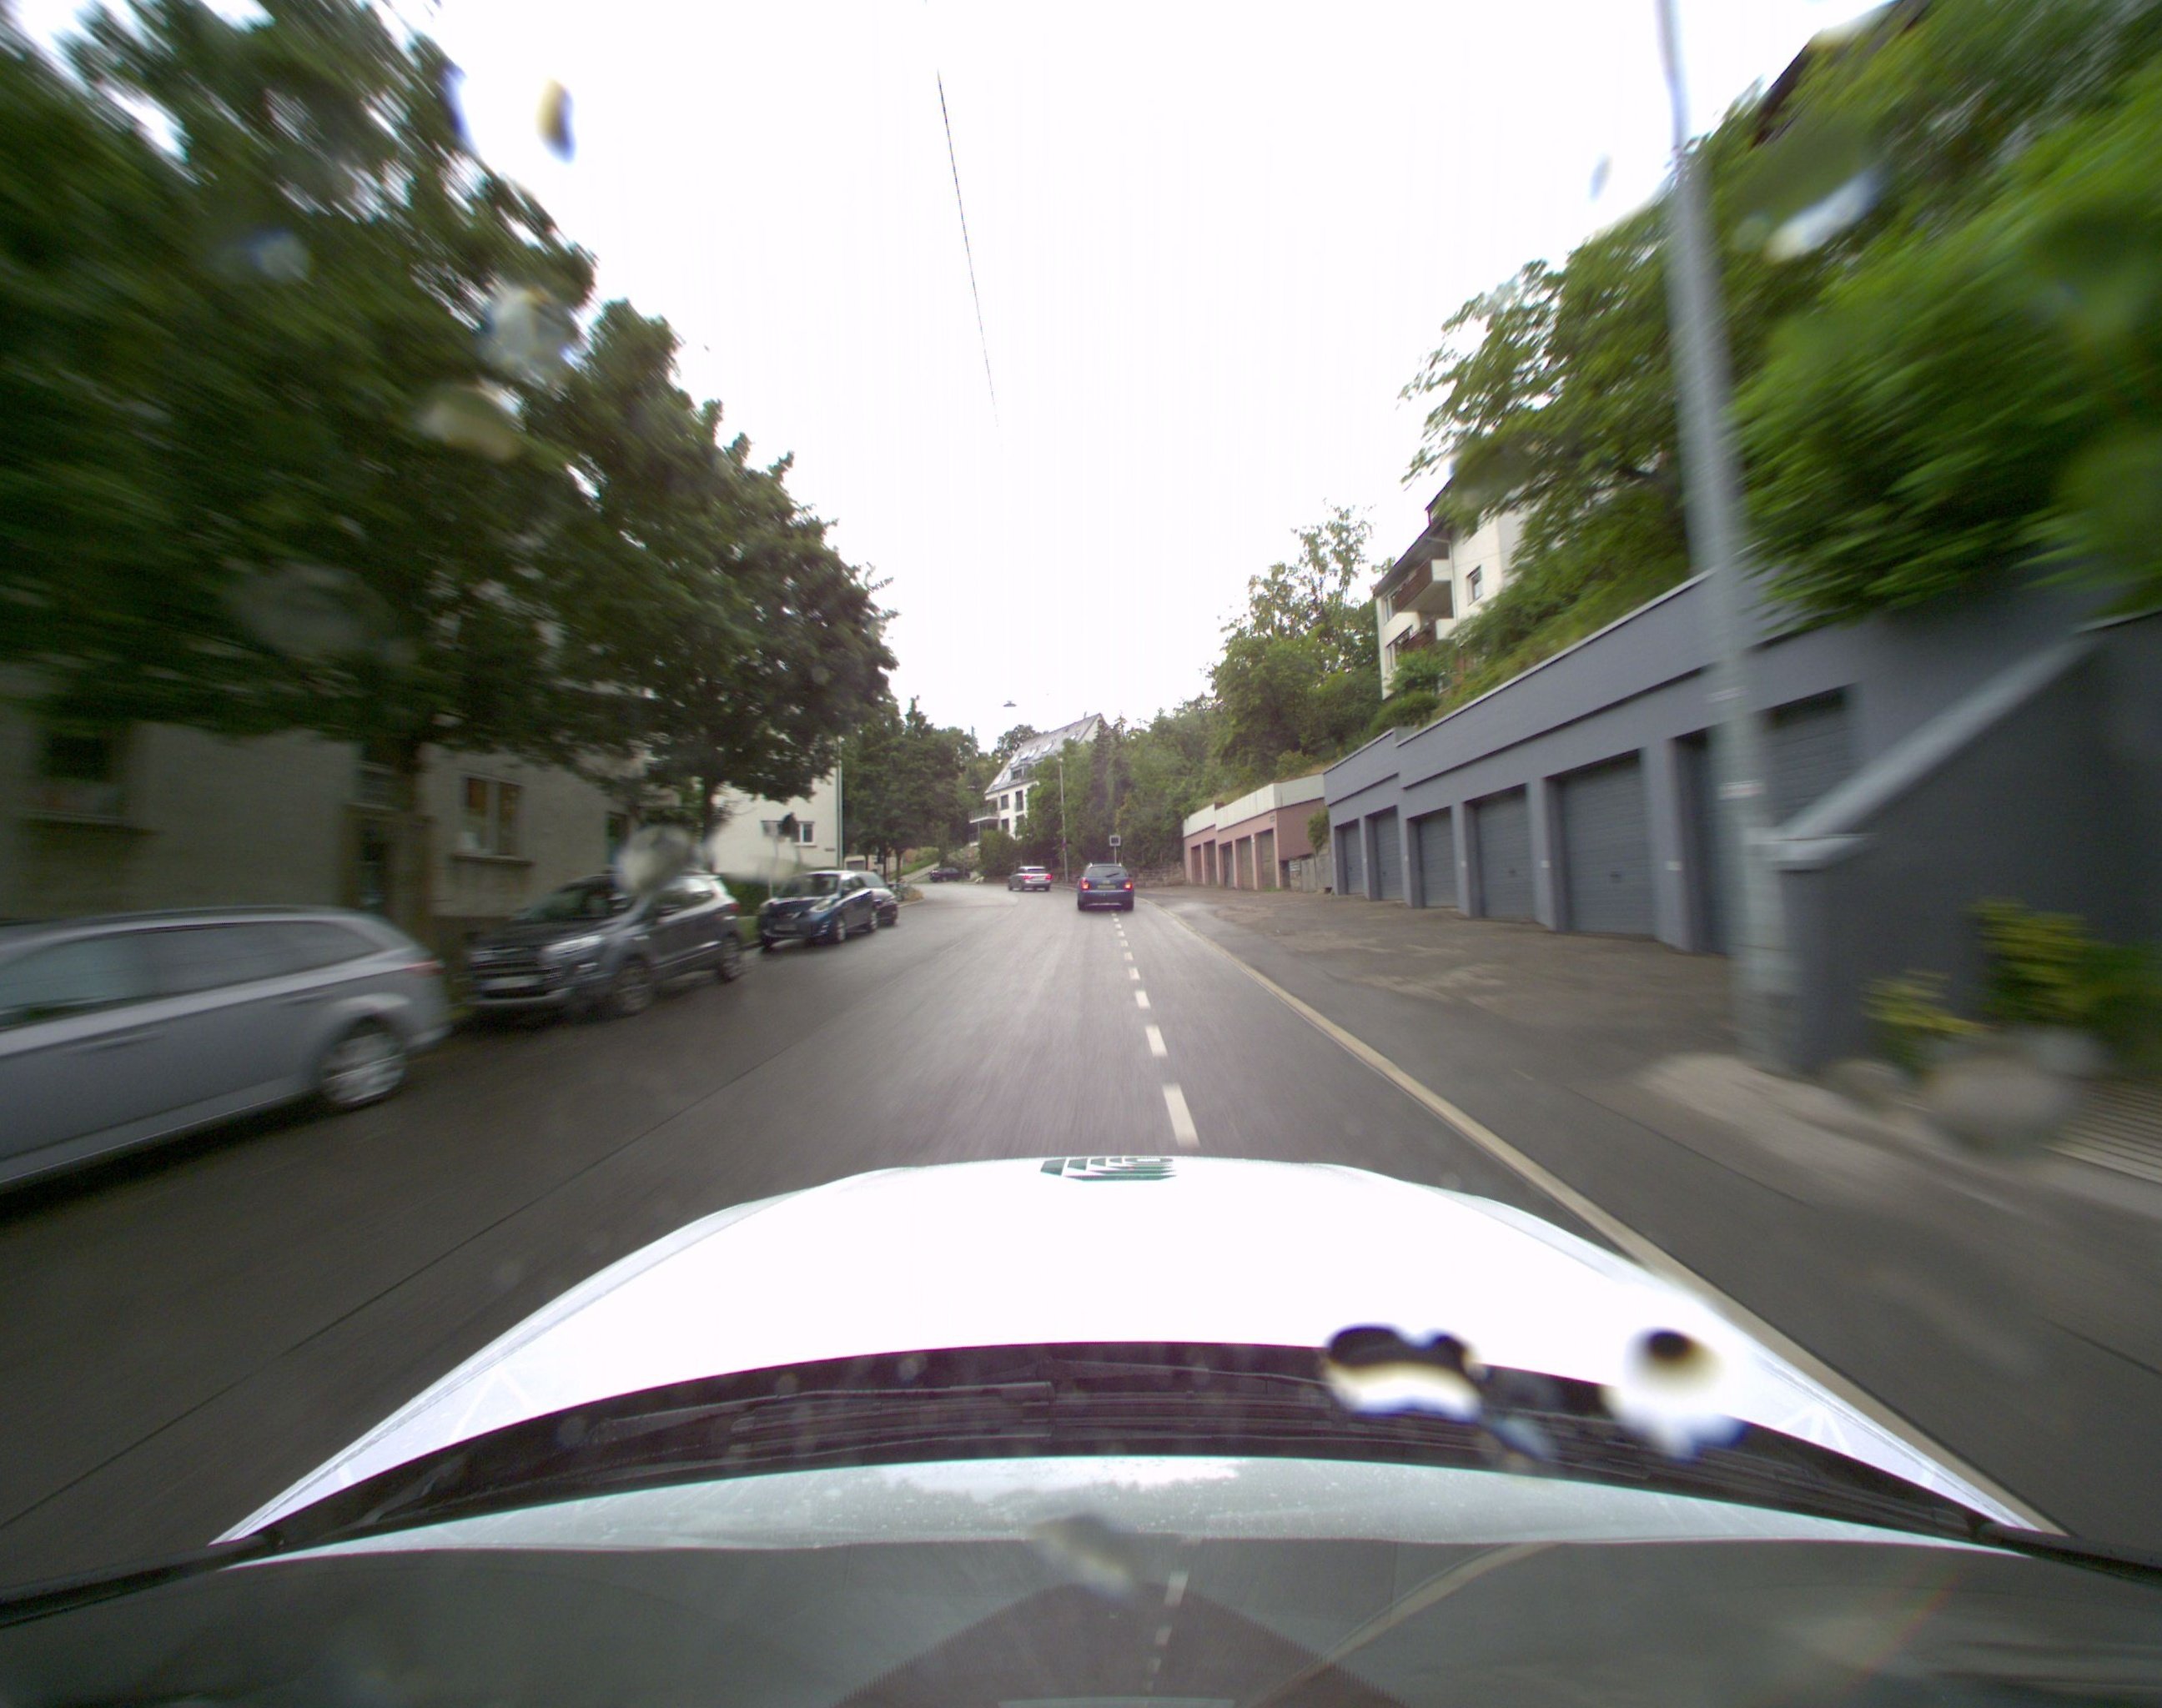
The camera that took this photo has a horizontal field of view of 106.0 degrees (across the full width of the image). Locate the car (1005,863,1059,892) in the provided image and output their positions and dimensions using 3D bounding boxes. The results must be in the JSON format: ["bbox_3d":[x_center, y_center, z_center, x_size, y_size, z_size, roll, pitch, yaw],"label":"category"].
[{"bbox_3d":[-2.995,1.388,48.669,1.958,1.561,4.232,2,-1,-22],"label":"car"}]

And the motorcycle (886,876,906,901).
[{"bbox_3d":[-9.229,1.716,40.709,0.554,1.203,1.401,-2,-1,5],"label":"motorcycle"}]

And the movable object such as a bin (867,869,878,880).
[{"bbox_3d":[-23.578,2.298,92.173,0.777,1.185,0.867,-1,-1,26],"label":"movable object such as a bin"}]

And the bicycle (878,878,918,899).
[{"bbox_3d":[-9.770,1.824,43.477,1.972,1.060,0.748,-1,-1,-24],"label":"bicycle"}]

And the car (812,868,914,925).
[{"bbox_3d":[-6.179,1.126,22.718,2.004,1.391,4.161,-1,-1,-26],"label":"car"}]

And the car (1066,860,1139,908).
[{"bbox_3d":[0.605,0.910,26.442,1.851,1.414,4.353,-1,0,-6],"label":"car"}]

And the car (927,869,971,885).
[{"bbox_3d":[-13.274,2.257,81.868,1.718,1.508,4.208,-2,-1,41],"label":"car"}]

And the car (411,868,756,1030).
[{"bbox_3d":[-5.918,1.009,10.404,1.798,1.627,4.139,-1,-1,1],"label":"car"}]

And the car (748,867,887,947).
[{"bbox_3d":[-5.658,1.073,17.987,1.706,1.462,3.883,0,0,2],"label":"car"}]

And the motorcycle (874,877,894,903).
[{"bbox_3d":[-9.802,1.767,40.647,0.549,1.228,1.307,-2,-1,5],"label":"motorcycle"}]

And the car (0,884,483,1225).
[{"bbox_3d":[-5.975,1.030,4.413,1.798,1.552,4.800,-4,-1,1],"label":"car"}]
